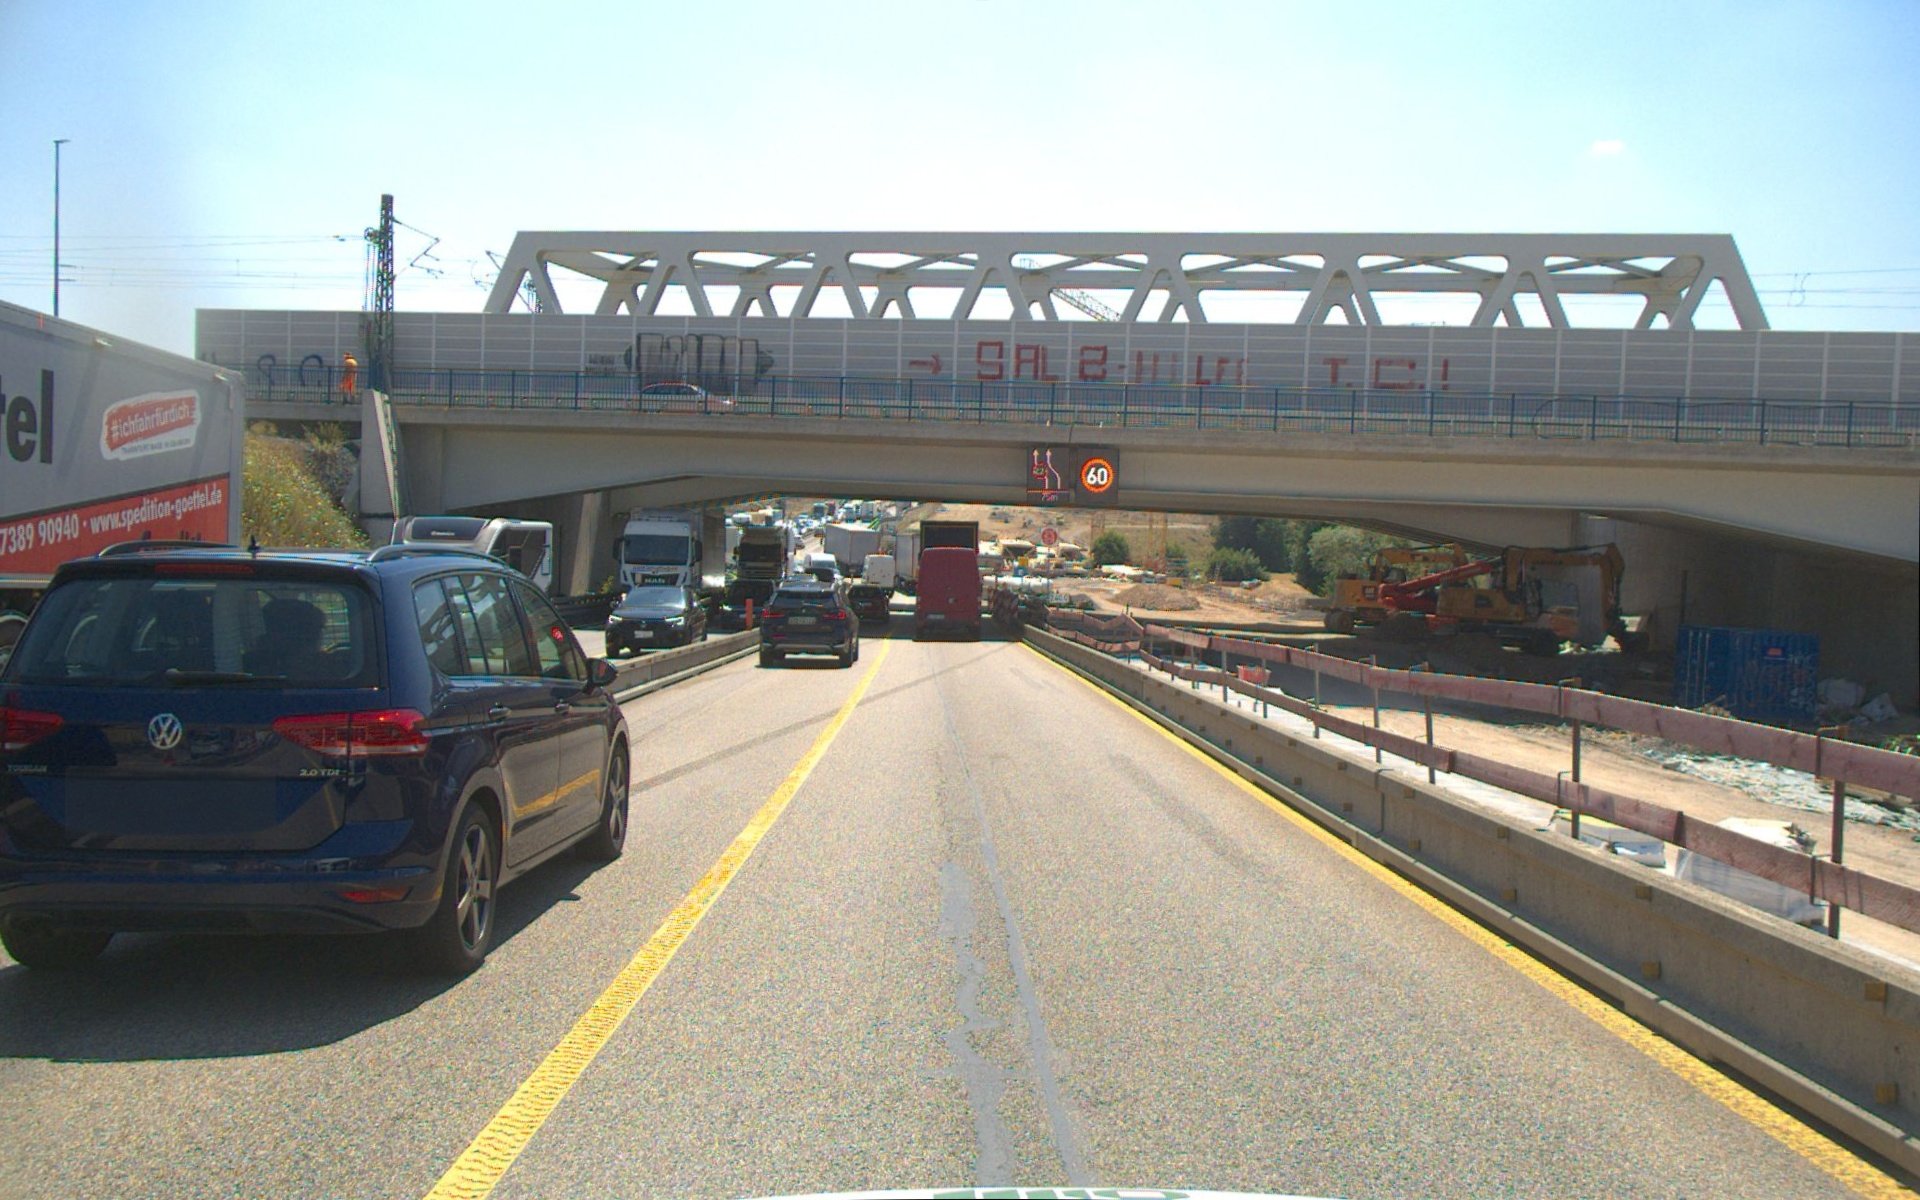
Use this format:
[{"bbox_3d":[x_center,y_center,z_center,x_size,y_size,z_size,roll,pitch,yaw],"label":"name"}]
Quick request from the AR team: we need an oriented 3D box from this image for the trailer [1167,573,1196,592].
[{"bbox_3d":[18.429,-1.459,137.474,1.592,1.512,3.823,2,2,-4],"label":"trailer"}]

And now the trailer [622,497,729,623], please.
[{"bbox_3d":[-10.309,-1.341,60.718,2.756,4.247,8.239,1,0,-2],"label":"trailer"}]

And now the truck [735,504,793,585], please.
[{"bbox_3d":[-10.840,-3.013,91.888,2.605,4.243,5.185,1,0,-1],"label":"truck"}]

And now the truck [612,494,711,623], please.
[{"bbox_3d":[-10.134,-1.353,56.536,2.742,4.223,4.071,1,0,-3],"label":"truck"}]

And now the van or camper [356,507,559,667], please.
[{"bbox_3d":[-9.520,-0.248,32.005,2.081,2.752,6.453,1,0,-2],"label":"van or camper"}]

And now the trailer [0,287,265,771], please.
[{"bbox_3d":[-9.012,-0.592,12.313,2.601,3.882,11.820,1,0,0],"label":"trailer"}]

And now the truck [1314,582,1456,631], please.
[{"bbox_3d":[21.136,0.322,82.545,6.386,2.109,2.666,2,1,2],"label":"truck"}]

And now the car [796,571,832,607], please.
[{"bbox_3d":[-8.110,-0.633,92.205,1.764,1.966,4.966,1,1,-3],"label":"car"}]

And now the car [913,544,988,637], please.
[{"bbox_3d":[-0.306,-0.257,50.287,2.106,2.656,5.437,1,0,-1],"label":"car"}]

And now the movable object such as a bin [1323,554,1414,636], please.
[{"bbox_3d":[19.016,-0.229,77.179,3.799,3.604,2.905,3,0,10],"label":"movable object such as a bin"}]

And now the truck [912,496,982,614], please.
[{"bbox_3d":[-0.574,-2.119,74.610,2.885,5.030,6.743,1,3,0],"label":"truck"}]

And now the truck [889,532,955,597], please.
[{"bbox_3d":[-2.621,-2.452,112.116,3.127,4.058,6.722,1,3,-13],"label":"truck"}]

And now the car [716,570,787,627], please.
[{"bbox_3d":[-6.876,-0.052,54.926,1.818,1.787,4.608,1,0,-1],"label":"car"}]

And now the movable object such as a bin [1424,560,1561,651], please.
[{"bbox_3d":[21.129,0.226,65.870,4.458,3.344,2.991,3,0,3],"label":"movable object such as a bin"}]

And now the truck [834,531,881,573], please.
[{"bbox_3d":[-9.305,-4.282,149.132,3.161,3.419,8.918,1,0,-10],"label":"truck"}]

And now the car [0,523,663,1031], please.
[{"bbox_3d":[-2.648,0.573,7.688,1.698,1.664,4.389,1,0,0],"label":"car"}]

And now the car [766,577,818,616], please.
[{"bbox_3d":[-7.075,-0.139,69.971,1.818,1.554,4.772,1,0,-1],"label":"car"}]

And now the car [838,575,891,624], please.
[{"bbox_3d":[-3.645,-0.029,63.567,1.796,1.808,4.389,1,0,-1],"label":"car"}]

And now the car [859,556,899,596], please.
[{"bbox_3d":[-5.466,-1.631,111.033,2.222,2.395,5.152,1,3,-8],"label":"car"}]

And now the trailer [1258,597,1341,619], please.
[{"bbox_3d":[20.739,0.490,101.211,4.618,1.241,2.055,1,0,-1],"label":"trailer"}]

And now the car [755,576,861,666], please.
[{"bbox_3d":[-3.000,0.381,33.424,1.796,1.664,4.388,1,0,-1],"label":"car"}]

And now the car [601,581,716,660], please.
[{"bbox_3d":[-6.433,0.393,35.698,1.718,1.544,4.186,1,1,0],"label":"car"}]

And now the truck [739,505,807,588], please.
[{"bbox_3d":[-10.995,-3.032,98.670,2.713,4.389,13.487,1,0,-1],"label":"truck"}]

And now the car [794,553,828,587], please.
[{"bbox_3d":[-11.088,-2.224,123.021,1.945,2.370,6.043,1,1,-10],"label":"car"}]

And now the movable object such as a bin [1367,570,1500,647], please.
[{"bbox_3d":[20.884,0.361,73.130,5.130,3.110,2.497,3,0,3],"label":"movable object such as a bin"}]

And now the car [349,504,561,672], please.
[{"bbox_3d":[-9.547,-0.191,31.944,2.229,2.870,6.556,1,0,-2],"label":"car"}]
